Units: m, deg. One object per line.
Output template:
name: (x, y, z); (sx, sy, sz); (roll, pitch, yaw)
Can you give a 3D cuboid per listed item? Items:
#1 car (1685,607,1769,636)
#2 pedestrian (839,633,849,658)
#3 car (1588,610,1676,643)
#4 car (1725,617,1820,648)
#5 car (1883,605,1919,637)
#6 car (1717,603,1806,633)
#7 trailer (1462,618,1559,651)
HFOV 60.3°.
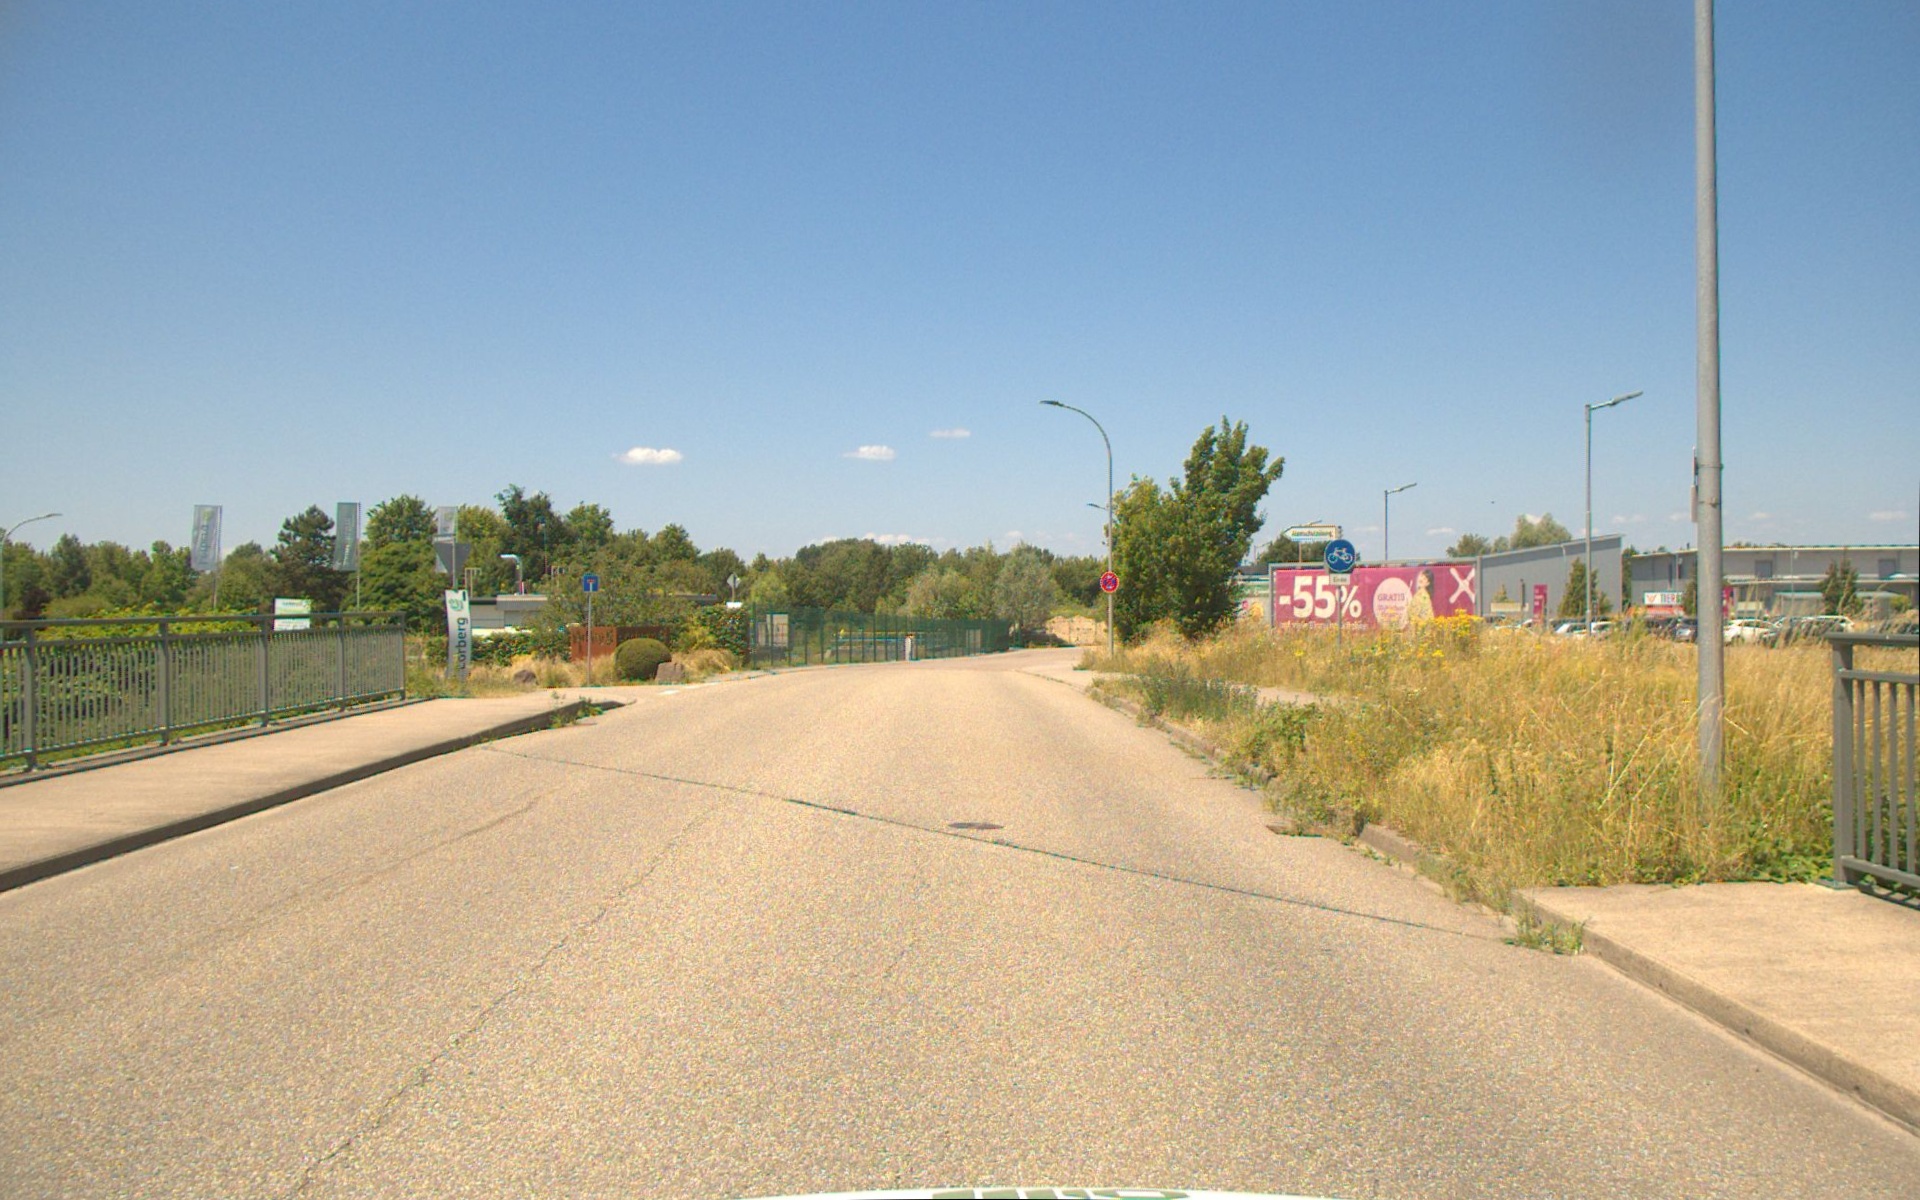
car: (43.973, 1.243, 94.916); (3.903, 1.546, 2.001); (-1, -2, 4)
pedestrian: (-9.040, 3.550, 129.203); (0.593, 1.871, 0.805); (-1, -2, 7)
car: (33.192, 1.279, 81.731); (3.656, 1.598, 1.892); (0, 0, 6)
car: (42.262, 1.693, 86.100); (3.904, 1.546, 2.000); (-1, -2, 1)
car: (47.483, 1.019, 80.569); (3.904, 1.546, 2.000); (-1, -2, 1)
car: (44.041, 1.007, 90.902); (3.903, 1.546, 2.001); (-1, -2, 4)
trailer: (25.214, 1.571, 75.884); (3.903, 1.422, 1.765); (0, 0, 4)
